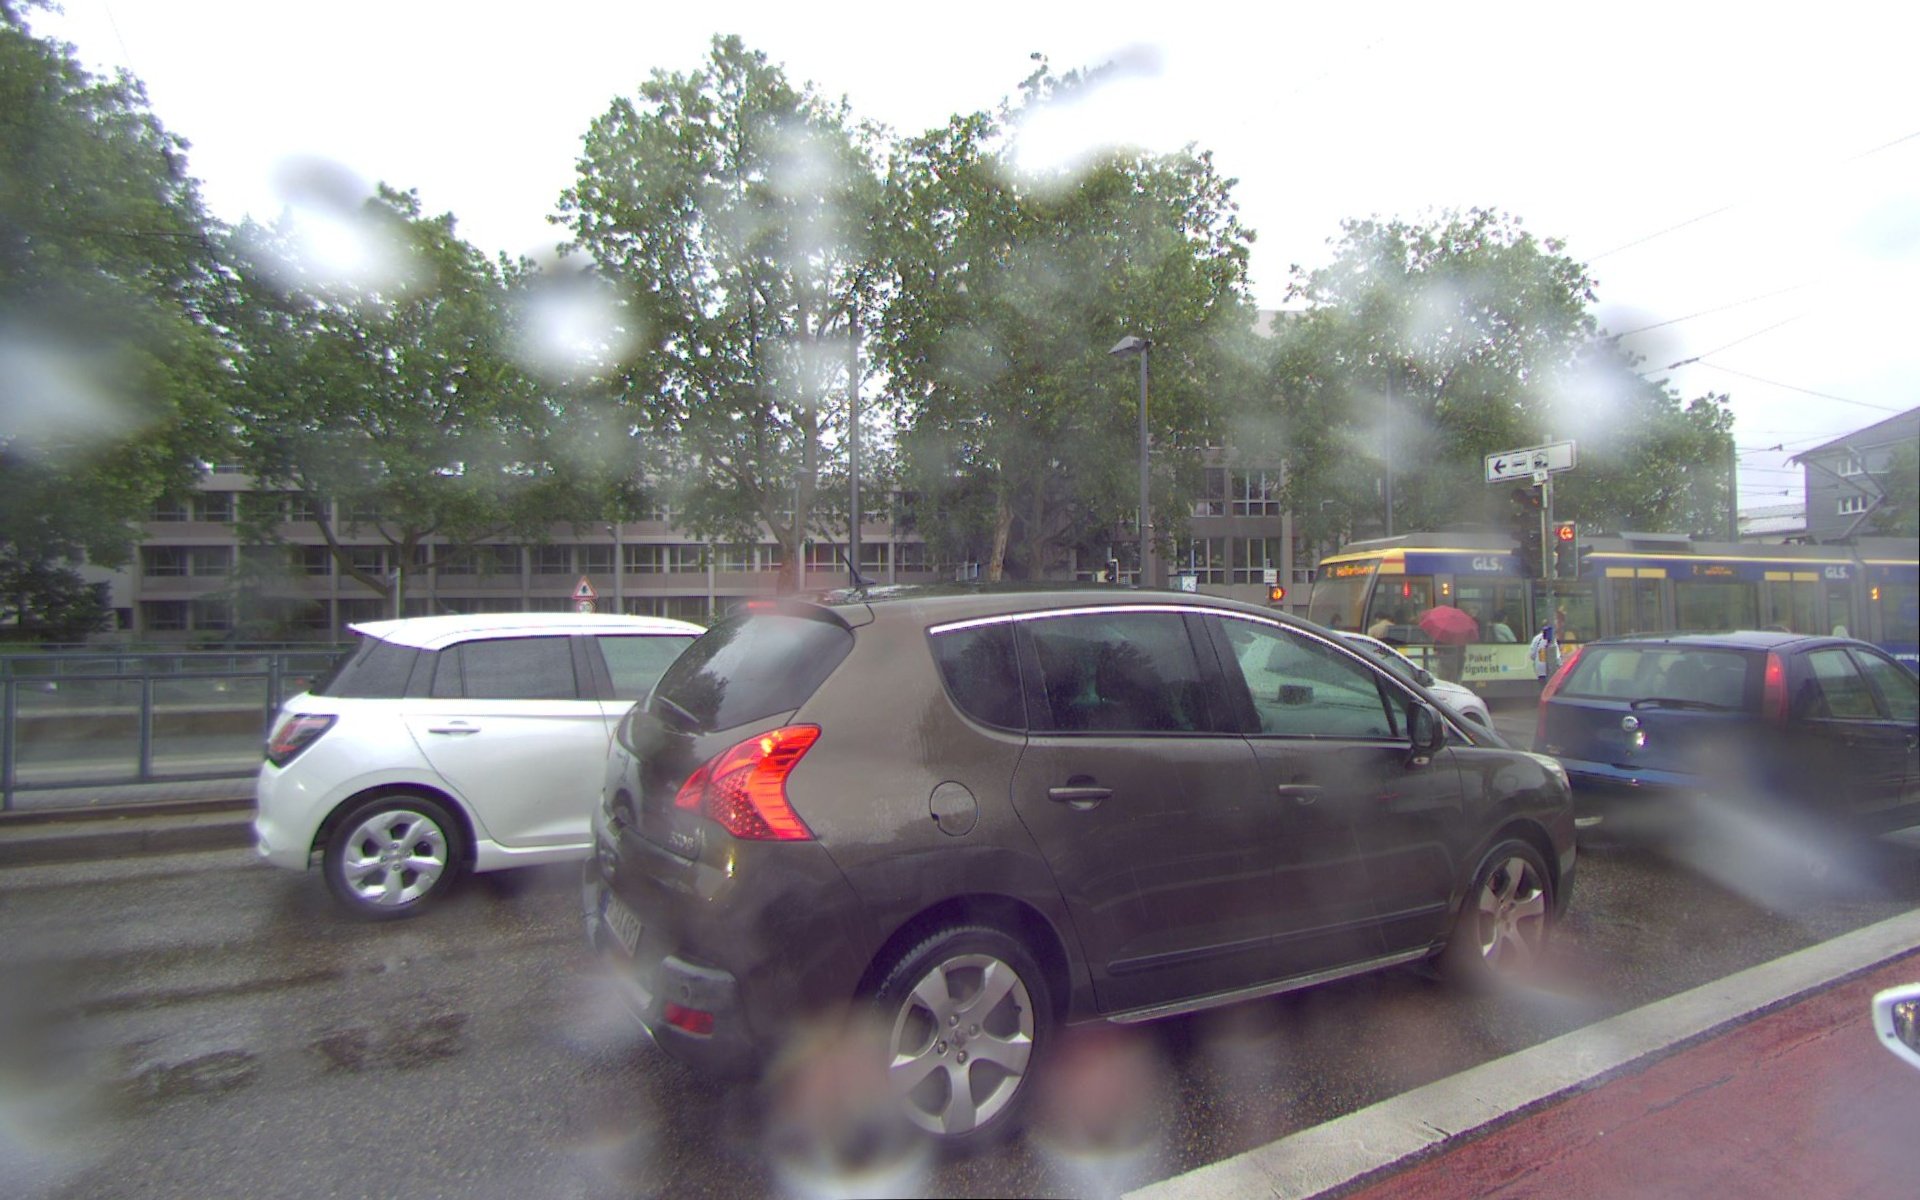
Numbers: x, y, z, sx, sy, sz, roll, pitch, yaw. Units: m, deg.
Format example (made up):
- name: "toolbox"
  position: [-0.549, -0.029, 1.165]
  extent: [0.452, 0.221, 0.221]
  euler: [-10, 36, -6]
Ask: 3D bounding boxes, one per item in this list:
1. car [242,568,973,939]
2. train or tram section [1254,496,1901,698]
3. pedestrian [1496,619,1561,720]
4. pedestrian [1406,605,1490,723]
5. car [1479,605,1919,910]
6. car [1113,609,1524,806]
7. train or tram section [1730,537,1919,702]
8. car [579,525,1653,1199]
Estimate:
- name: "car"
  position: [-1.957, 0.740, 6.160]
  extent: [3.791, 1.650, 1.637]
  euler: [1, -2, -30]
- name: "train or tram section"
  position: [13.147, 0.101, 21.291]
  extent: [13.435, 3.559, 3.512]
  euler: [2, 0, -16]
- name: "pedestrian"
  position: [9.490, 1.141, 16.771]
  extent: [0.731, 1.628, 0.623]
  euler: [1, 0, -23]
- name: "pedestrian"
  position: [7.586, 0.982, 15.620]
  extent: [0.888, 1.769, 0.762]
  euler: [0, -3, -30]
- name: "car"
  position: [5.571, 0.878, 7.007]
  extent: [3.776, 1.599, 1.719]
  euler: [1, -1, -30]
- name: "car"
  position: [3.421, 0.886, 9.445]
  extent: [3.737, 1.514, 1.621]
  euler: [1, -1, -30]
- name: "train or tram section"
  position: [26.697, 0.606, 23.014]
  extent: [15.197, 3.458, 3.552]
  euler: [2, 0, 1]
- name: "car"
  position: [0.777, 0.723, 4.113]
  extent: [4.124, 1.690, 1.825]
  euler: [1, -1, -30]
